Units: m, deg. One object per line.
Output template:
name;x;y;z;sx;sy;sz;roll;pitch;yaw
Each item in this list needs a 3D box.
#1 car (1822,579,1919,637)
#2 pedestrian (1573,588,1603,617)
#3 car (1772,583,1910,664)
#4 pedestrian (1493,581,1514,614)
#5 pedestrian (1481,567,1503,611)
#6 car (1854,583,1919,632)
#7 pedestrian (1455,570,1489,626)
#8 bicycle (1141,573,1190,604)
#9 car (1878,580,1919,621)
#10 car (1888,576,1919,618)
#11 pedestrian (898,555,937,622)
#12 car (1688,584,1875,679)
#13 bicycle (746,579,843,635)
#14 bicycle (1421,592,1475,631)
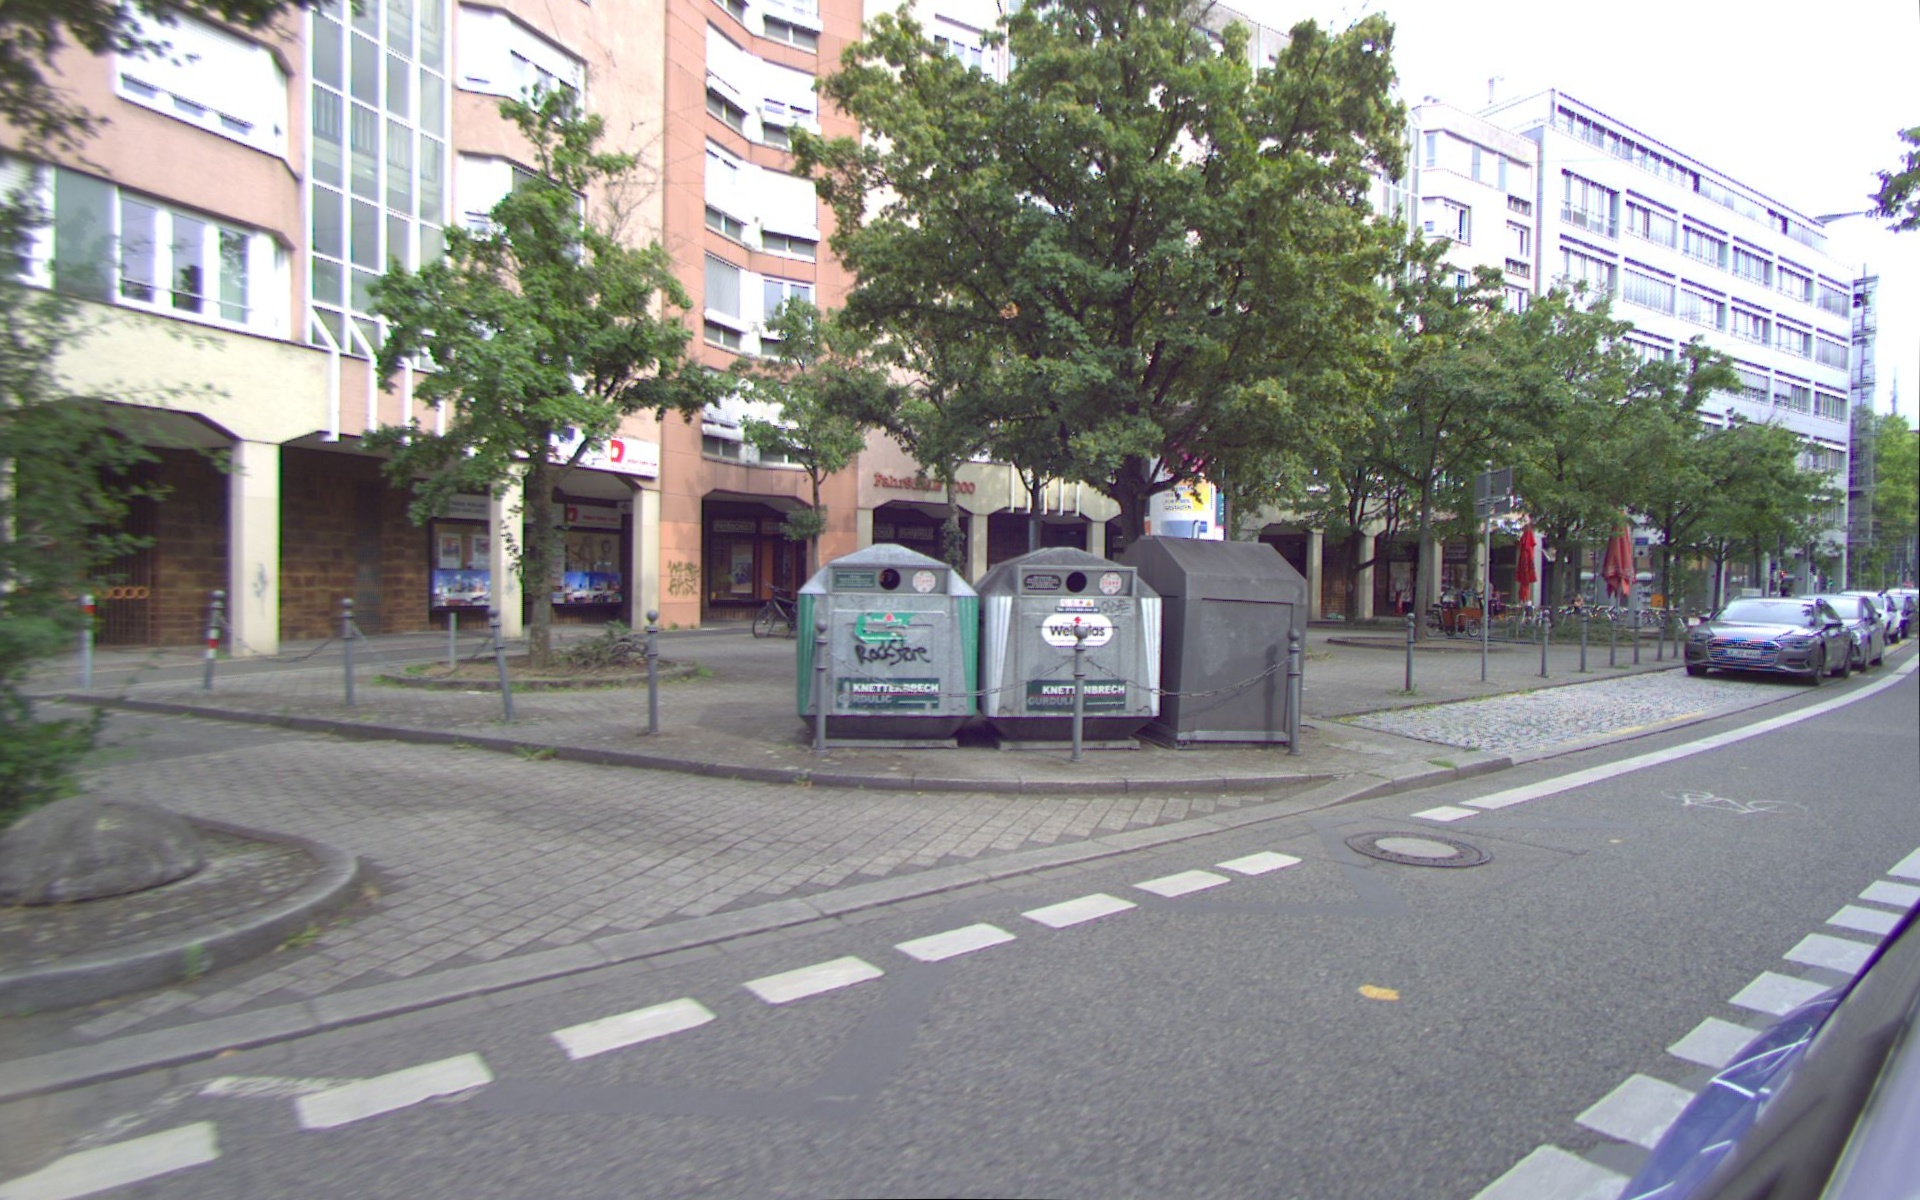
car;28.961;0.225;32.053;4.090;1.673;1.865;0;2;-40
pedestrian;26.252;0.101;42.278;0.685;1.171;0.824;1;1;-31
car;19.252;0.452;22.052;4.325;1.537;1.743;0;2;-42
pedestrian;19.940;-0.096;37.121;0.447;1.191;0.518;1;1;-15
pedestrian;19.435;-0.400;36.963;0.470;1.589;0.518;1;1;-7
car;34.504;0.253;37.055;4.224;1.596;1.781;0;3;-37
pedestrian;14.922;-0.067;29.489;0.668;1.606;0.608;0;1;-33
bicycle;6.904;-0.376;33.949;1.826;1.025;0.487;0;1;-34
car;41.172;0.042;43.773;1.994;1.622;4.514;5;4;41
car;45.886;-0.113;48.536;1.828;1.887;4.574;5;3;44
pedestrian;-1.100;-0.290;25.923;0.834;1.683;0.535;0;1;-31
car;14.949;0.482;18.326;4.584;1.460;1.820;0;2;-41
bicycle;-3.441;0.132;21.147;1.928;1.126;0.597;1;1;3
bicycle;13.551;0.310;28.069;1.826;1.025;0.487;0;1;-34
